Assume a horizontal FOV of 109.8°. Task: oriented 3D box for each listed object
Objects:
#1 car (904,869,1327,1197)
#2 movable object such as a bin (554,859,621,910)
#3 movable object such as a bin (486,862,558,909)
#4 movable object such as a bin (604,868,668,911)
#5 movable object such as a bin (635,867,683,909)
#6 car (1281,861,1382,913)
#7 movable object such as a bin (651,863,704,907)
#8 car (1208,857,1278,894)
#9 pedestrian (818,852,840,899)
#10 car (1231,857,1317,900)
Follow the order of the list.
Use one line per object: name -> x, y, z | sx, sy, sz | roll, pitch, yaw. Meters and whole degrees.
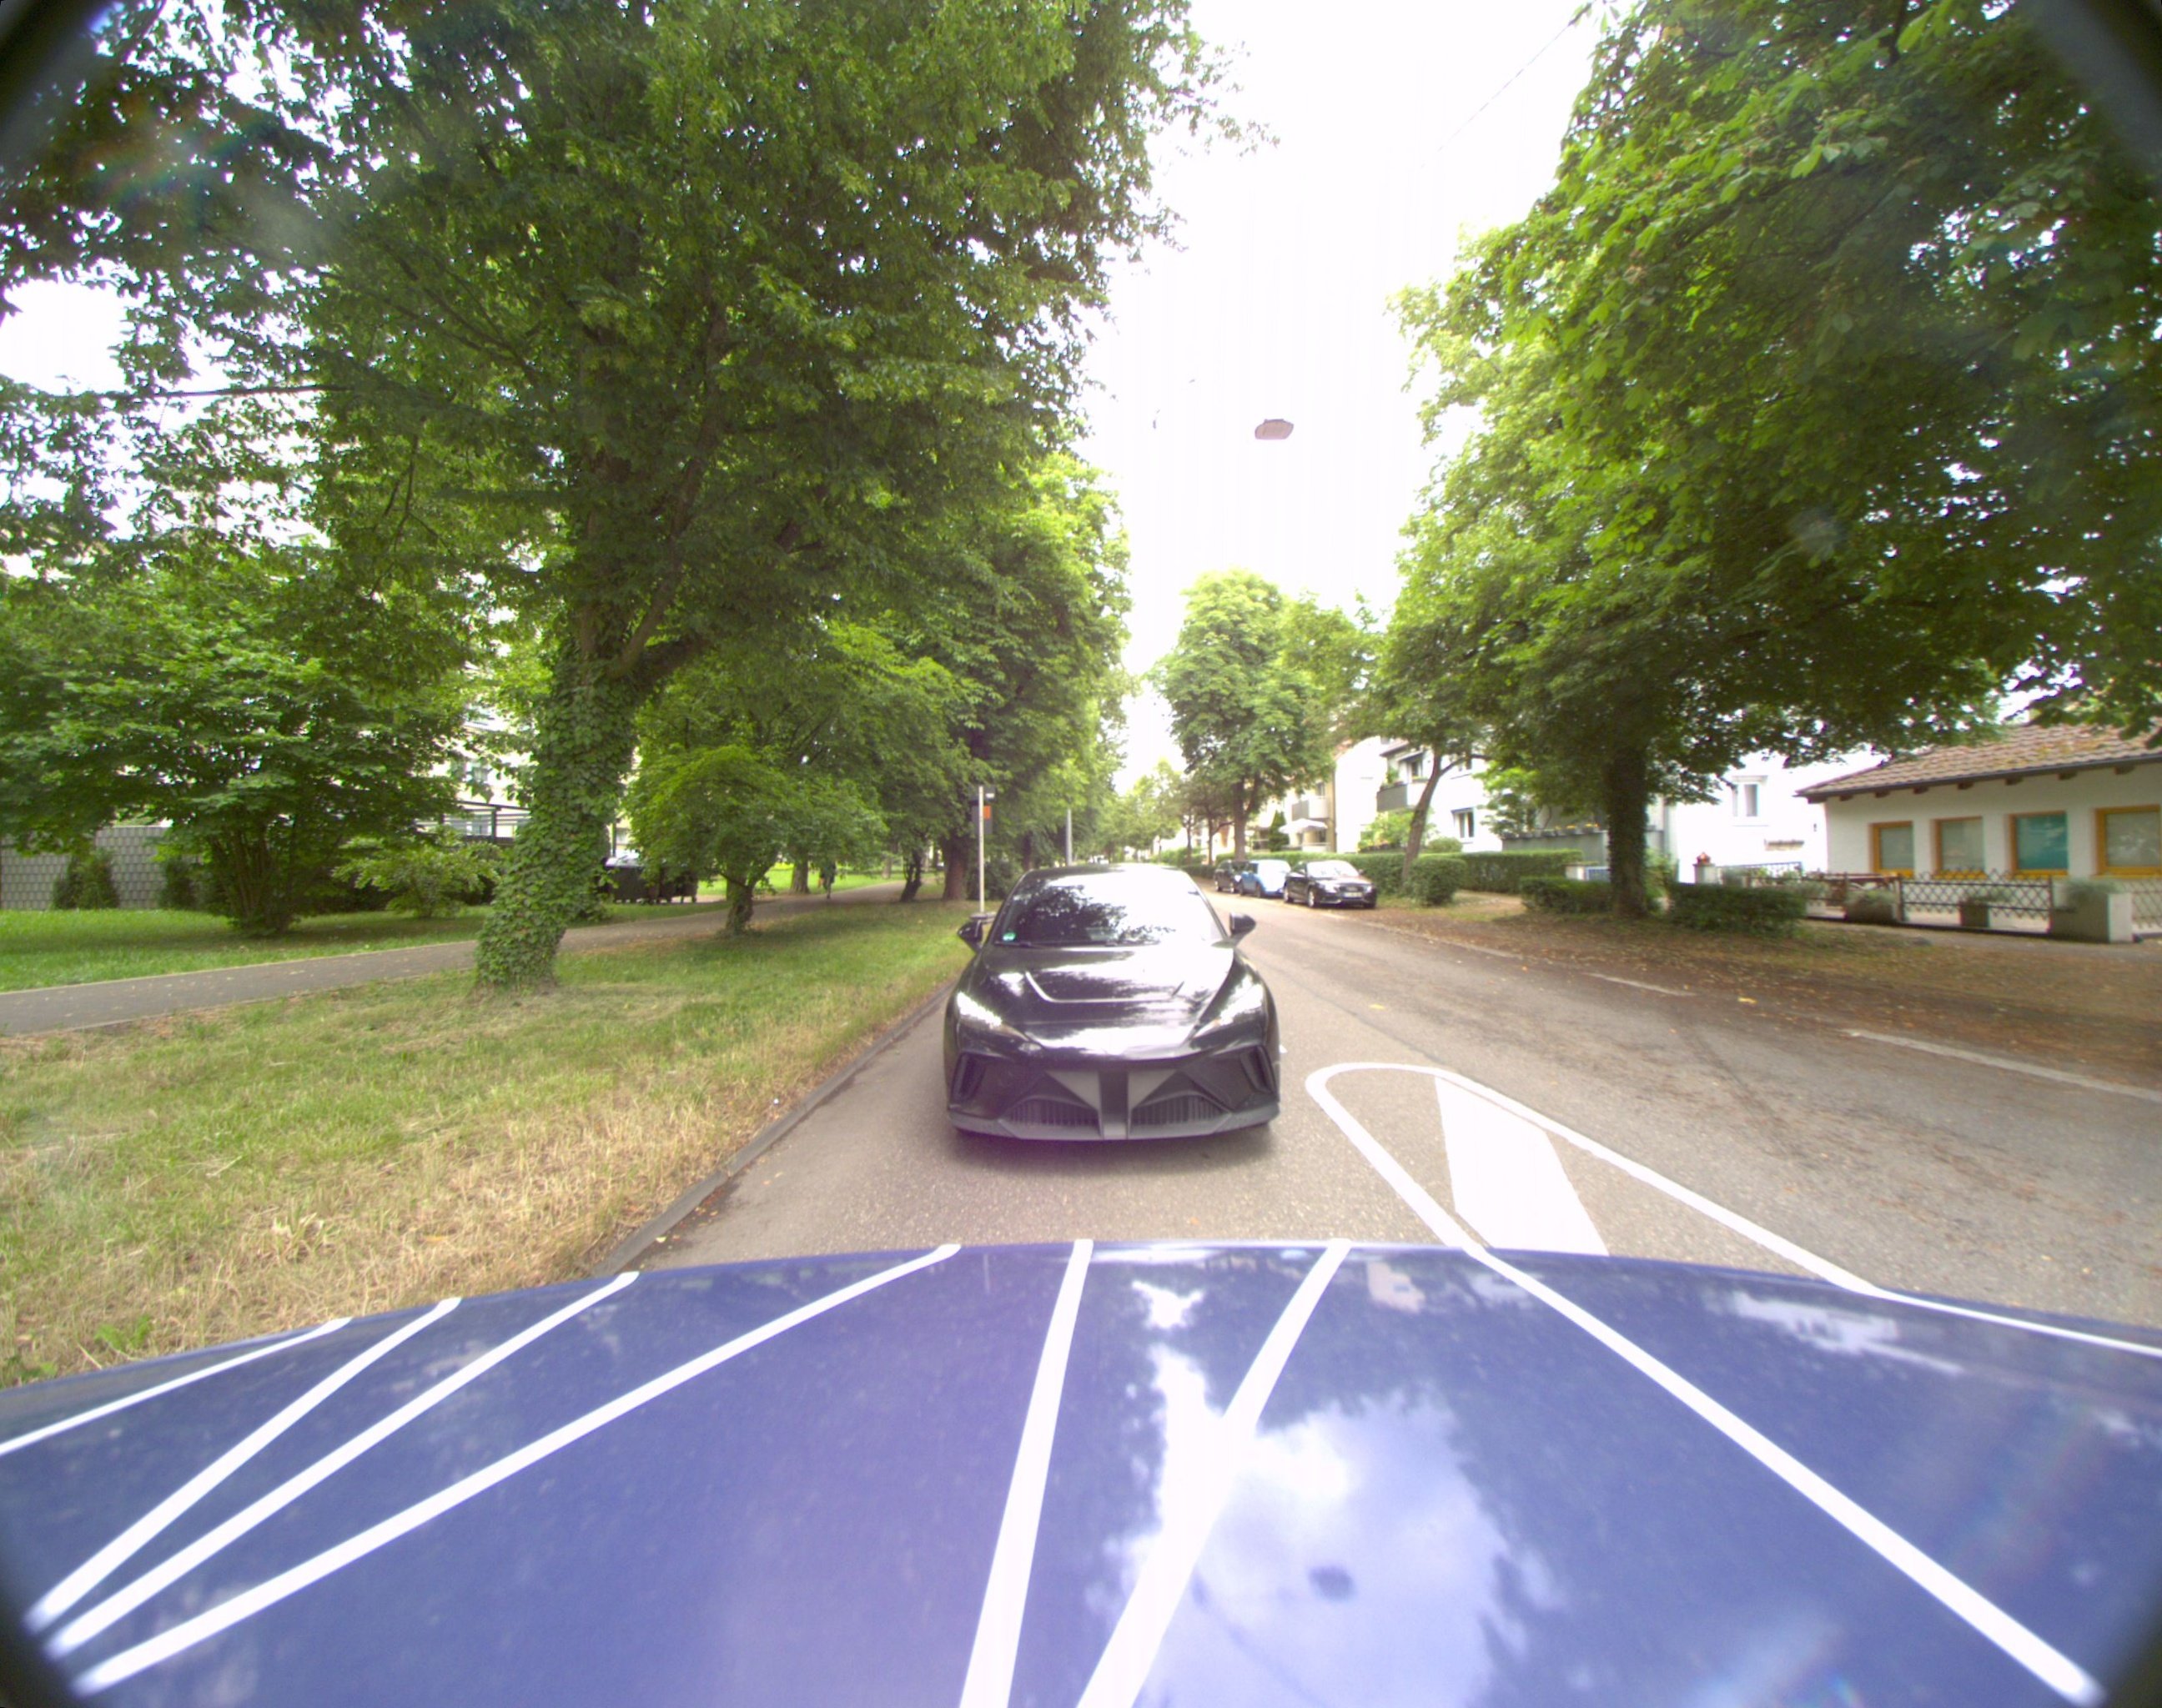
car -> 0.186, 0.897, 5.907 | 1.998, 1.491, 4.615 | 0, 0, 1
movable object such as a bin -> -14.573, 0.875, 22.495 | 1.194, 1.448, 1.348 | 0, 0, -8
movable object such as a bin -> -16.514, 0.899, 22.492 | 1.194, 1.334, 1.348 | 0, 0, -8
movable object such as a bin -> -13.256, 1.032, 22.687 | 1.194, 1.213, 1.348 | 0, 0, -8
movable object such as a bin -> -13.241, 1.051, 23.886 | 1.026, 1.296, 0.960 | 0, 0, -8
car -> 7.405, 0.921, 22.886 | 1.735, 1.394, 4.172 | 0, 0, 1
movable object such as a bin -> -13.244, 0.991, 24.979 | 1.194, 1.405, 1.110 | 0, 0, -8
car -> 7.075, 0.889, 33.661 | 1.889, 1.524, 4.565 | 0, 0, -3
pedestrian -> -9.230, 0.781, 27.846 | 0.565, 1.730, 0.570 | 1, 0, 0
car -> 7.206, 0.886, 28.907 | 1.889, 1.492, 4.565 | 0, 0, -3
